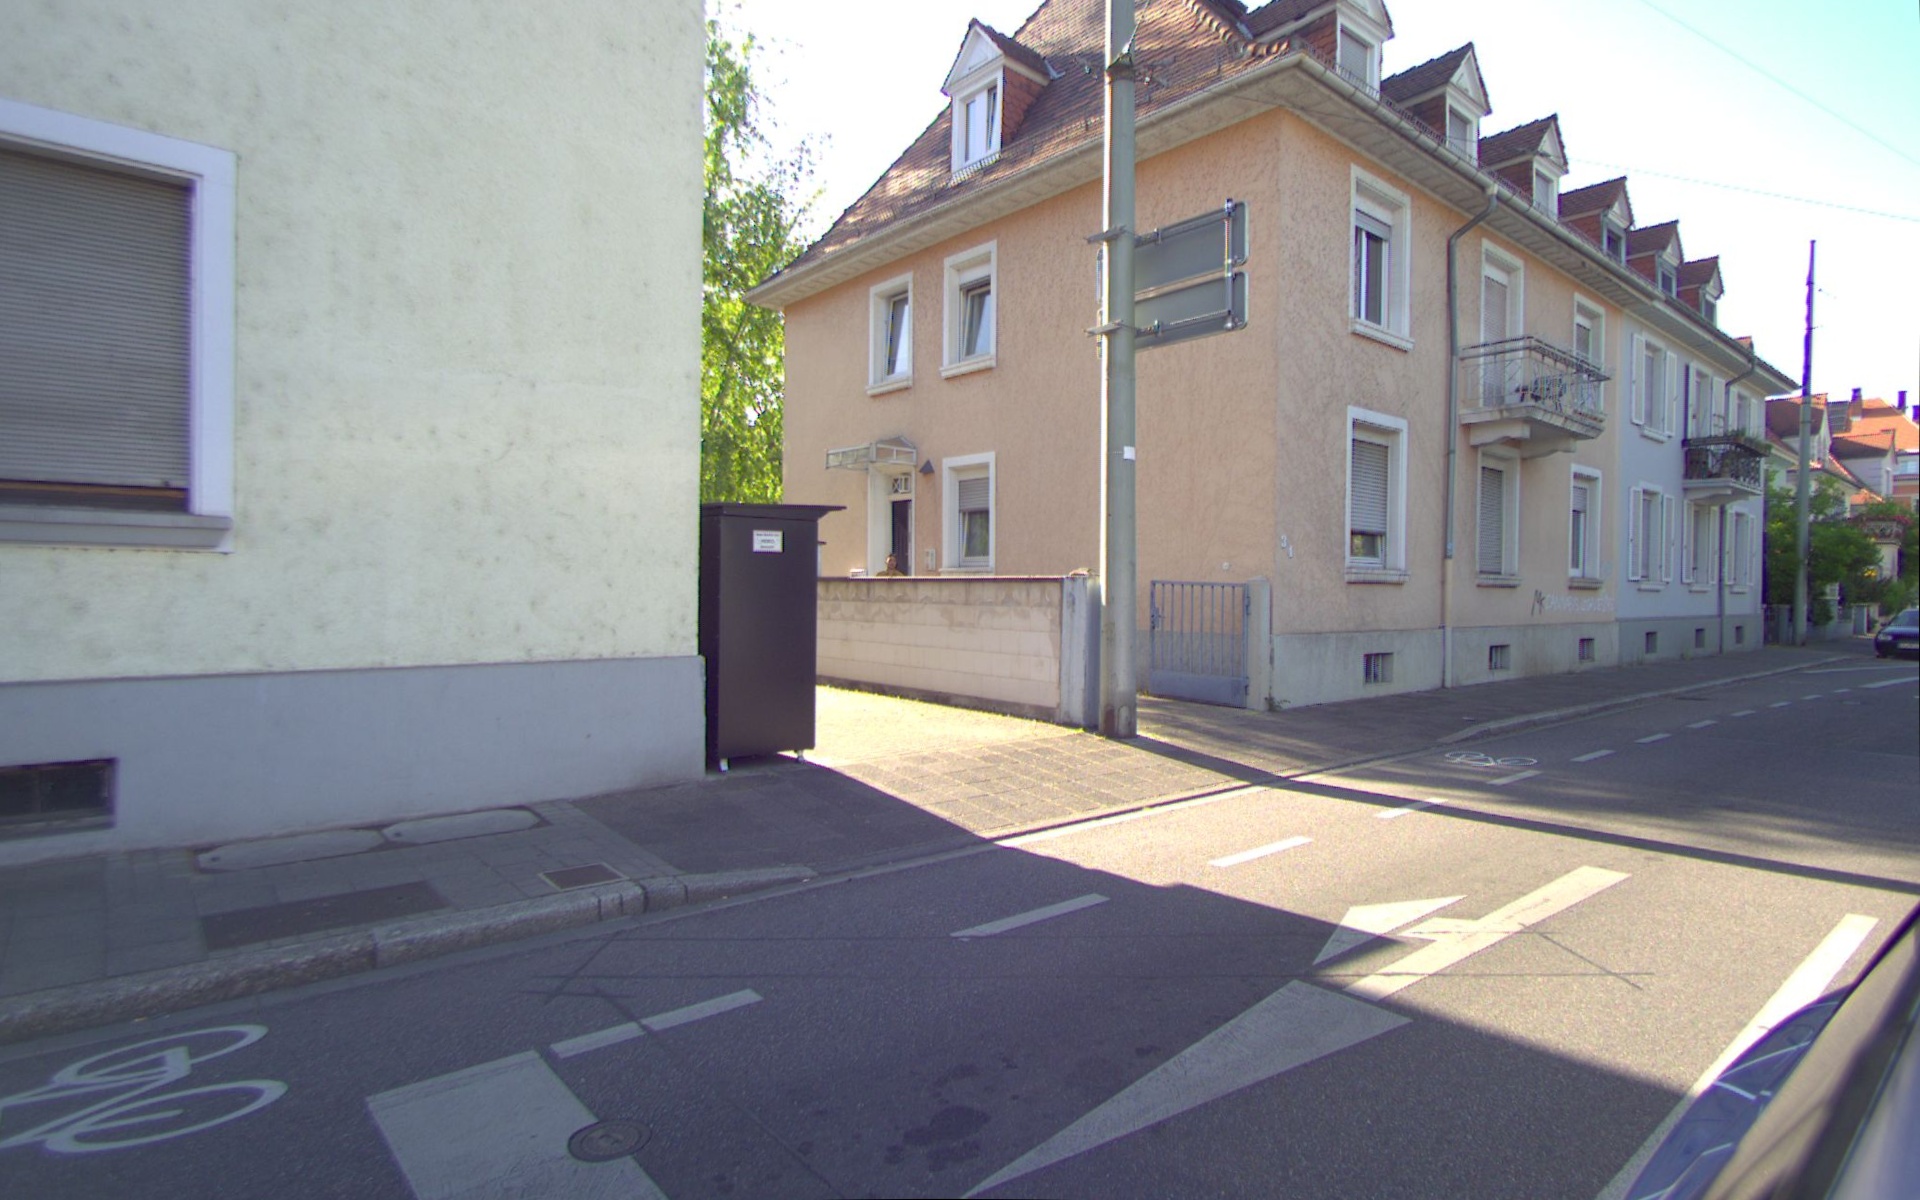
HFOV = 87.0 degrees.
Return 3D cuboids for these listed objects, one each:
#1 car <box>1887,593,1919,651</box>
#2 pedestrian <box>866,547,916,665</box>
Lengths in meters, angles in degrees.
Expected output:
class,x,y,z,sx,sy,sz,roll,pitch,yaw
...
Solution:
class,x,y,z,sx,sy,sz,roll,pitch,yaw
car,26.836,0.591,27.379,3.925,1.504,1.883,0,1,-37
pedestrian,-1.080,0.089,15.750,0.592,1.783,0.486,0,0,-39
